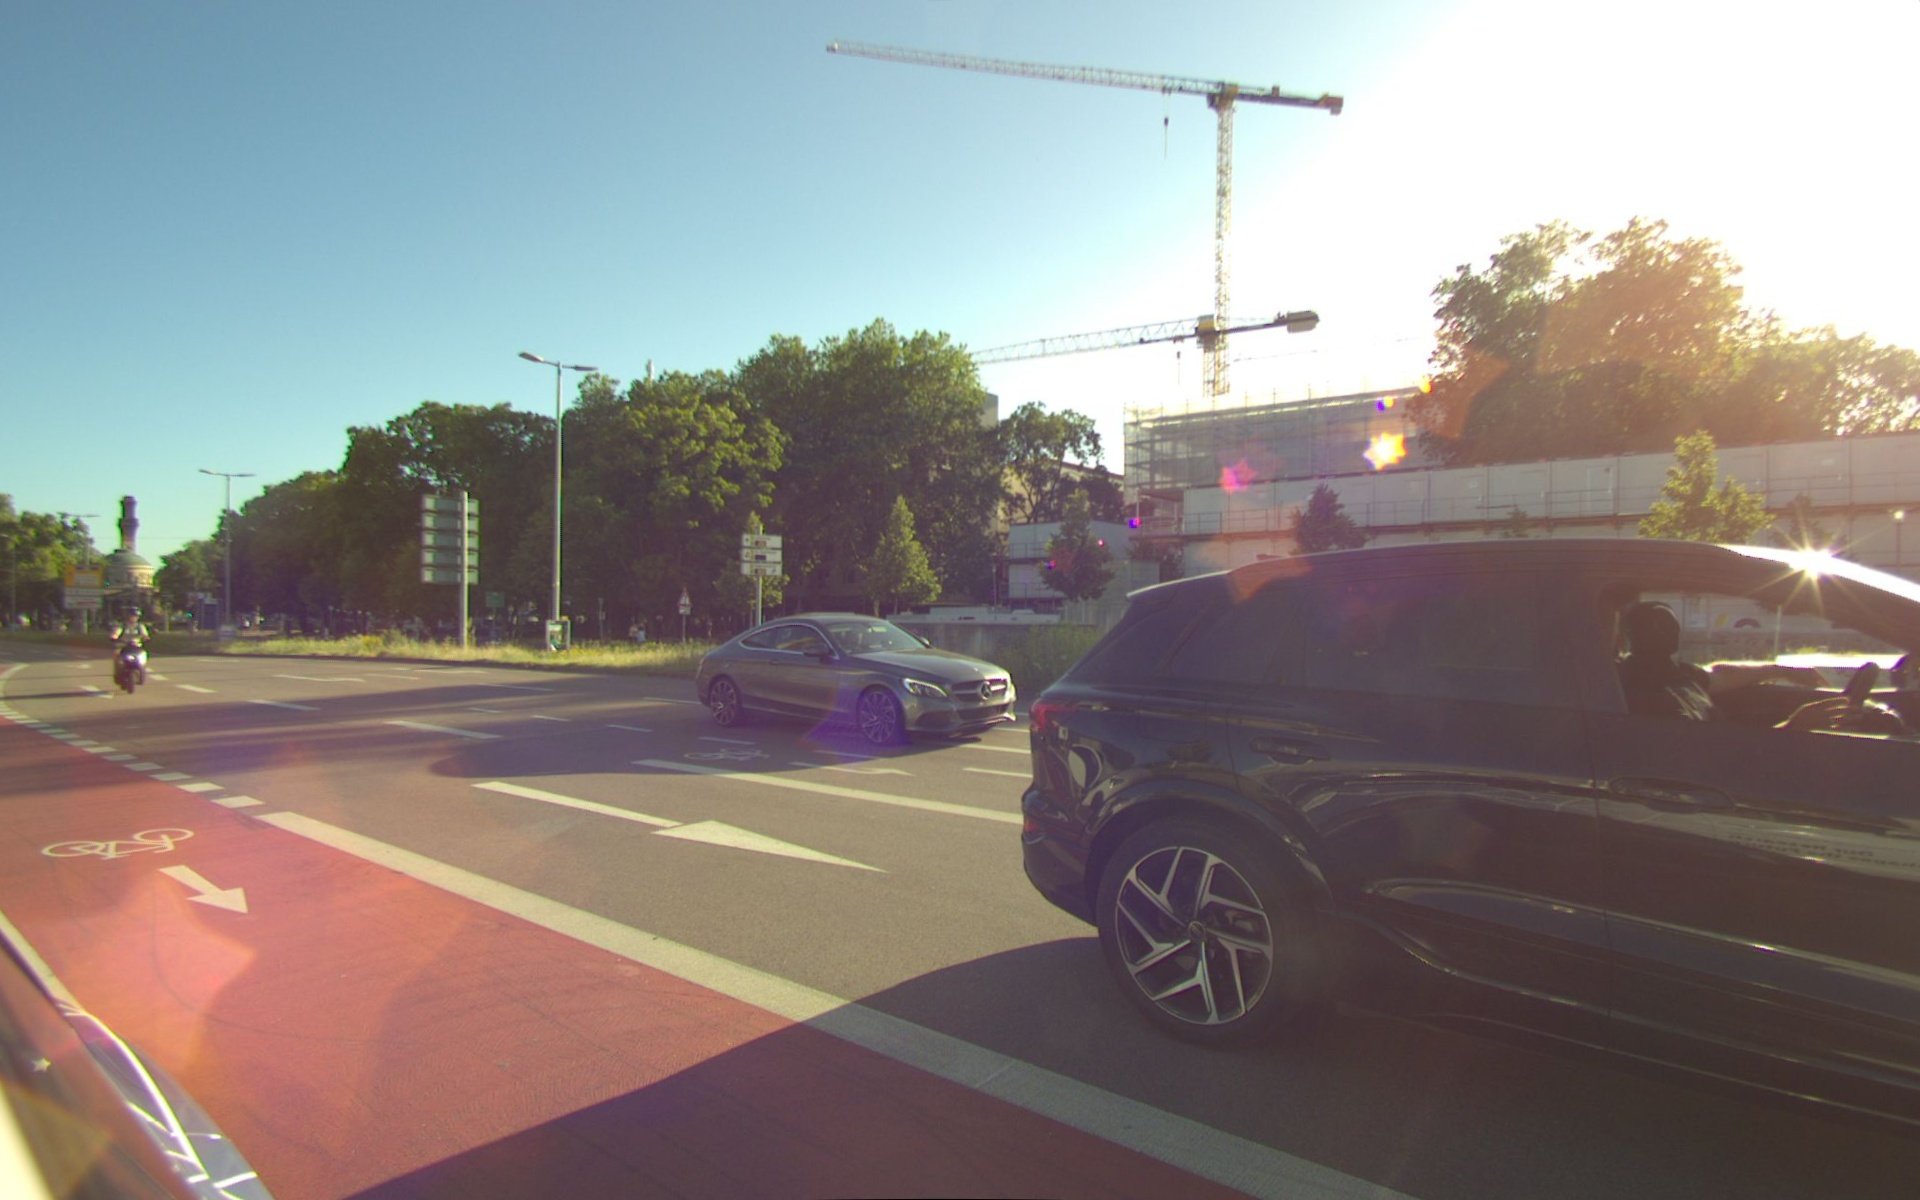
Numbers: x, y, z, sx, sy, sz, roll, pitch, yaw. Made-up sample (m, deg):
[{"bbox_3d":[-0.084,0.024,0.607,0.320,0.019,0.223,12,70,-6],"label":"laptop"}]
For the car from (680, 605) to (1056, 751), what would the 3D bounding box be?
[{"bbox_3d":[-1.251,0.813,12.227,4.486,1.417,1.973,-1,0,41],"label":"car"}]

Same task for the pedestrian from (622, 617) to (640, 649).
[{"bbox_3d":[-18.468,1.846,56.823,0.762,1.738,0.698,-1,-2,41],"label":"pedestrian"}]

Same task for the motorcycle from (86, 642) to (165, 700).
[{"bbox_3d":[-16.583,1.367,20.094,2.268,1.022,0.961,-1,-1,44],"label":"motorcycle"}]

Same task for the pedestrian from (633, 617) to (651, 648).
[{"bbox_3d":[-18.099,1.863,57.541,0.762,1.738,0.656,-1,-2,41],"label":"pedestrian"}]

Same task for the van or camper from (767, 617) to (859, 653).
[{"bbox_3d":[-8.936,2.092,61.948,1.948,2.029,5.576,-1,0,42],"label":"van or camper"}]

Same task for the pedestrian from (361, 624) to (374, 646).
[{"bbox_3d":[-48.482,2.856,82.781,0.924,1.862,0.620,-1,-2,40],"label":"pedestrian"}]

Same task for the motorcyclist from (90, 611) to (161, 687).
[{"bbox_3d":[-16.518,0.950,20.033,1.059,1.424,0.961,-1,-1,44],"label":"motorcyclist"}]

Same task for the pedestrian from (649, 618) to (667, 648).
[{"bbox_3d":[-17.404,1.883,58.367,0.762,1.738,0.697,-2,-2,43],"label":"pedestrian"}]

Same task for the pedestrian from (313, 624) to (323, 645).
[{"bbox_3d":[-57.806,3.091,91.114,0.733,1.862,0.561,-1,-2,40],"label":"pedestrian"}]

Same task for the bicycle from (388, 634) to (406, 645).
[{"bbox_3d":[-43.639,3.067,78.437,1.744,0.849,0.602,-1,-2,40],"label":"bicycle"}]

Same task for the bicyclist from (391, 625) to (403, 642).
[{"bbox_3d":[-43.637,2.590,78.451,0.714,1.291,0.603,-1,-2,40],"label":"bicyclist"}]

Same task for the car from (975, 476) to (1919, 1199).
[{"bbox_3d":[2.442,0.577,3.075,4.611,1.656,1.914,-1,-1,39],"label":"car"}]
